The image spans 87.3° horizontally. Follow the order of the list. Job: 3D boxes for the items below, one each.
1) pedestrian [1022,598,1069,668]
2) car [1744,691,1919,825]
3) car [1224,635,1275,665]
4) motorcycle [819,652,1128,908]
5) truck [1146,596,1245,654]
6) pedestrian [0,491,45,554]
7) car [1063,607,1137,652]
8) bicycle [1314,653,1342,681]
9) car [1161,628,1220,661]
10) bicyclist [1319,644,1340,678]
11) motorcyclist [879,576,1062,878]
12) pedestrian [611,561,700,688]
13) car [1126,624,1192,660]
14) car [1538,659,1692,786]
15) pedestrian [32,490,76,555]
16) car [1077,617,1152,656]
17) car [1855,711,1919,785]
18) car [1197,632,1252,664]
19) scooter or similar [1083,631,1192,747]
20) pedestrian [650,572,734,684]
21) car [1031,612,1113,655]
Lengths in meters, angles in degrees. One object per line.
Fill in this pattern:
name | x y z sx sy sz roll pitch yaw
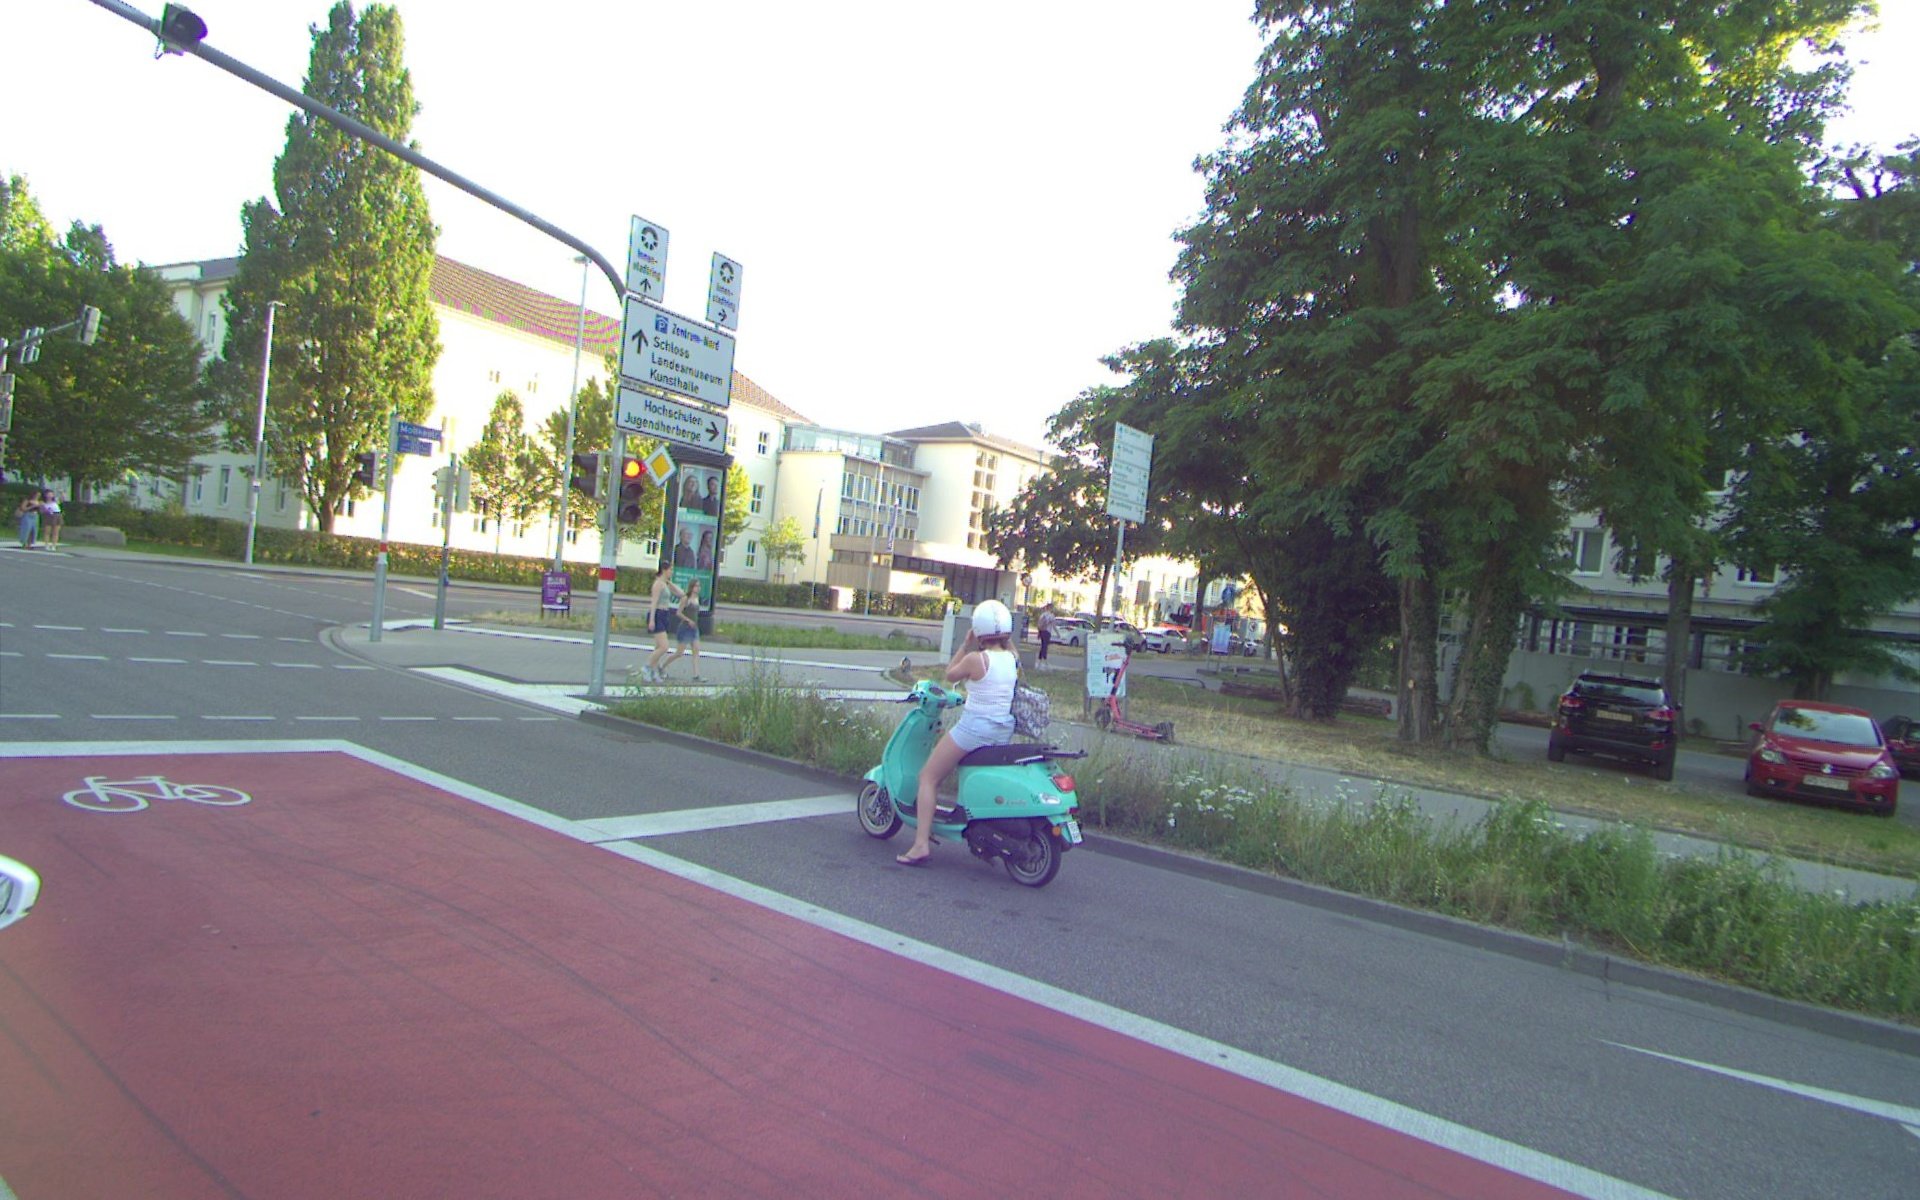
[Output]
pedestrian | 2.299 0.890 27.035 0.694 1.761 0.892 7 1 40
car | 14.052 2.422 16.373 1.890 1.631 3.984 7 0 38
car | 19.659 3.407 68.203 1.969 1.660 3.987 7 0 35
motorcycle | 0.032 1.068 6.495 1.866 1.212 0.681 7 0 40
truck | 15.928 1.778 67.365 2.599 3.179 10.243 6 0 35
pedestrian | -26.548 -2.184 28.468 0.831 1.643 0.681 8 2 32
car | 7.736 1.650 55.275 2.024 1.884 4.486 7 -2 35
bicycle | 18.107 3.303 49.414 0.563 1.256 1.891 7 0 40
car | 13.757 2.659 59.941 1.969 1.660 3.987 7 0 35
bicyclist | 18.146 2.998 49.381 0.563 1.609 0.904 7 1 40
motorcyclist | 0.072 0.786 6.491 0.680 1.758 0.737 7 1 40
pedestrian | -4.294 0.343 14.198 0.763 1.681 0.720 7 1 27
car | 10.969 2.316 55.201 1.969 1.660 3.987 7 0 35
car | 11.770 2.092 17.951 1.890 1.762 4.223 7 0 37
pedestrian | -26.192 -2.241 29.087 0.677 1.776 0.681 8 2 31
car | 7.923 1.875 51.259 1.970 1.632 3.985 7 0 37
car | 22.997 3.585 24.040 1.742 1.477 3.618 7 0 33
car | 16.736 3.036 63.525 1.969 1.660 3.987 7 0 35
scooter or similar | 2.248 1.107 12.766 1.159 1.288 0.440 7 1 31
pedestrian | -3.987 0.419 14.969 0.775 1.542 0.736 7 1 26
car | 5.345 1.603 47.607 1.872 1.660 3.983 7 0 38
